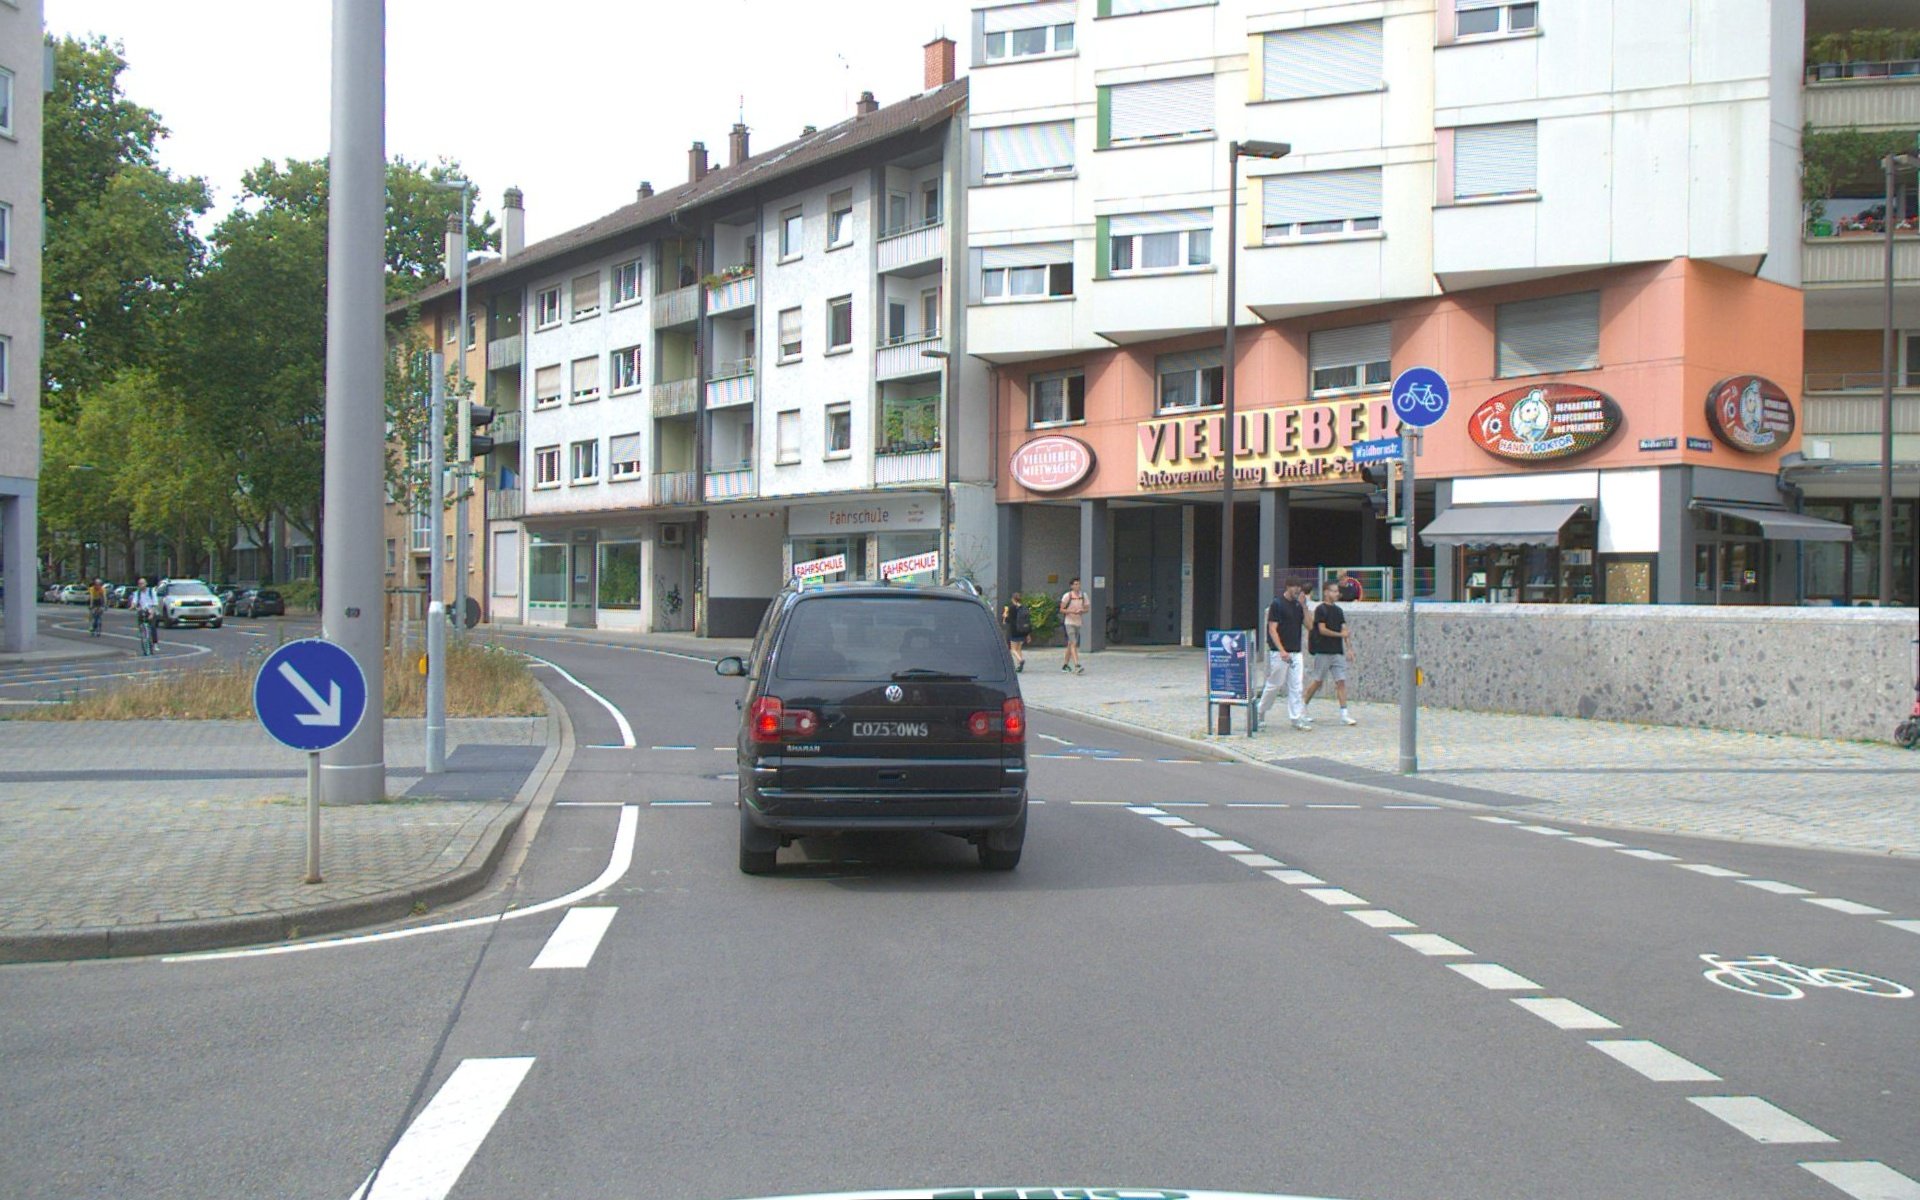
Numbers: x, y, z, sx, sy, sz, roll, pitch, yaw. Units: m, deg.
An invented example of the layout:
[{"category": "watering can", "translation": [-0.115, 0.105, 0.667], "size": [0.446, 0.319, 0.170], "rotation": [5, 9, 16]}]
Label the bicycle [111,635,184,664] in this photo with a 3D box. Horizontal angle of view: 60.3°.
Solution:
[{"category": "bicycle", "translation": [-19.014, 1.144, 38.746], "size": [0.473, 0.598, 2.000], "rotation": [0, 0, 9]}]

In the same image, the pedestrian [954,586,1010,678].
[{"category": "pedestrian", "translation": [0.446, 0.633, 33.447], "size": [0.743, 1.780, 0.850], "rotation": [-4, 3, -30]}]

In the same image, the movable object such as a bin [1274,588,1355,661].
[{"category": "movable object such as a bin", "translation": [7.385, 0.487, 34.459], "size": [1.138, 1.486, 1.206], "rotation": [0, 0, -40]}]

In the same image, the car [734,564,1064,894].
[{"category": "car", "translation": [-0.576, 0.698, 11.020], "size": [1.779, 1.797, 3.730], "rotation": [0, 0, -9]}]

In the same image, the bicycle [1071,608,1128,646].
[{"category": "bicycle", "translation": [3.580, 0.690, 42.424], "size": [0.449, 0.912, 1.655], "rotation": [0, 1, -38]}]

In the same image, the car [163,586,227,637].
[{"category": "car", "translation": [-27.013, 0.377, 58.319], "size": [1.811, 1.689, 4.284], "rotation": [0, 1, -28]}]

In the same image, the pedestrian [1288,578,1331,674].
[{"category": "pedestrian", "translation": [6.325, 0.468, 29.943], "size": [0.469, 1.701, 0.582], "rotation": [-3, 2, -38]}]

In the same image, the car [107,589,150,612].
[{"category": "car", "translation": [-54.572, 0.019, 108.501], "size": [1.619, 1.495, 4.256], "rotation": [1, 0, -39]}]

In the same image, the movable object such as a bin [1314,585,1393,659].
[{"category": "movable object such as a bin", "translation": [8.369, 0.456, 35.179], "size": [1.186, 1.542, 1.180], "rotation": [0, 0, -40]}]

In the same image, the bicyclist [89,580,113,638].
[{"category": "bicyclist", "translation": [-26.698, 0.282, 51.384], "size": [0.534, 1.774, 0.747], "rotation": [0, 0, -39]}]

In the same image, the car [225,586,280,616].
[{"category": "car", "translation": [-36.569, 0.051, 85.473], "size": [1.647, 1.447, 3.812], "rotation": [0, 1, -39]}]

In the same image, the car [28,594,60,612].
[{"category": "car", "translation": [-75.588, 0.213, 136.488], "size": [1.633, 1.438, 3.363], "rotation": [1, 0, -42]}]

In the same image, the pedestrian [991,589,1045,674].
[{"category": "pedestrian", "translation": [1.185, 0.634, 33.919], "size": [0.601, 1.697, 0.930], "rotation": [-4, 2, -40]}]

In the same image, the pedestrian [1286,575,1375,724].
[{"category": "pedestrian", "translation": [4.755, 0.611, 21.237], "size": [0.671, 1.831, 0.872], "rotation": [-3, 3, -44]}]

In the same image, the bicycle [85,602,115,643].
[{"category": "bicycle", "translation": [-26.740, 0.681, 51.413], "size": [0.508, 1.246, 1.541], "rotation": [0, 0, -39]}]

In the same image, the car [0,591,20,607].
[{"category": "car", "translation": [-85.289, -0.073, 147.806], "size": [1.665, 1.418, 3.823], "rotation": [1, 0, -39]}]

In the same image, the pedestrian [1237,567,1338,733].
[{"category": "pedestrian", "translation": [4.134, 0.605, 20.868], "size": [0.716, 2.005, 0.998], "rotation": [-3, 3, -44]}]

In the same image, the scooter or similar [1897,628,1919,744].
[{"category": "scooter or similar", "translation": [10.472, 0.927, 17.461], "size": [0.281, 1.233, 1.120], "rotation": [0, 0, -17]}]

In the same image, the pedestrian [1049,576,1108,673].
[{"category": "pedestrian", "translation": [2.351, 0.476, 32.942], "size": [0.651, 1.884, 0.959], "rotation": [-3, 2, -35]}]

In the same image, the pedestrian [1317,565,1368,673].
[{"category": "pedestrian", "translation": [7.021, 0.330, 30.346], "size": [0.667, 1.936, 0.582], "rotation": [-3, 2, -38]}]

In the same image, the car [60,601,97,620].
[{"category": "car", "translation": [-66.272, 0.768, 124.345], "size": [1.665, 1.418, 4.397], "rotation": [1, 0, -39]}]

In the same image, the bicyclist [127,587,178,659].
[{"category": "bicyclist", "translation": [-18.950, 0.525, 38.833], "size": [0.595, 1.675, 1.038], "rotation": [0, 0, 9]}]

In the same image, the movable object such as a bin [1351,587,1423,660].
[{"category": "movable object such as a bin", "translation": [9.288, 0.501, 35.985], "size": [0.996, 1.542, 1.151], "rotation": [0, 0, -40]}]

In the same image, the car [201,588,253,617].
[{"category": "car", "translation": [-39.615, 0.105, 89.320], "size": [1.647, 1.447, 3.892], "rotation": [0, 1, -39]}]
